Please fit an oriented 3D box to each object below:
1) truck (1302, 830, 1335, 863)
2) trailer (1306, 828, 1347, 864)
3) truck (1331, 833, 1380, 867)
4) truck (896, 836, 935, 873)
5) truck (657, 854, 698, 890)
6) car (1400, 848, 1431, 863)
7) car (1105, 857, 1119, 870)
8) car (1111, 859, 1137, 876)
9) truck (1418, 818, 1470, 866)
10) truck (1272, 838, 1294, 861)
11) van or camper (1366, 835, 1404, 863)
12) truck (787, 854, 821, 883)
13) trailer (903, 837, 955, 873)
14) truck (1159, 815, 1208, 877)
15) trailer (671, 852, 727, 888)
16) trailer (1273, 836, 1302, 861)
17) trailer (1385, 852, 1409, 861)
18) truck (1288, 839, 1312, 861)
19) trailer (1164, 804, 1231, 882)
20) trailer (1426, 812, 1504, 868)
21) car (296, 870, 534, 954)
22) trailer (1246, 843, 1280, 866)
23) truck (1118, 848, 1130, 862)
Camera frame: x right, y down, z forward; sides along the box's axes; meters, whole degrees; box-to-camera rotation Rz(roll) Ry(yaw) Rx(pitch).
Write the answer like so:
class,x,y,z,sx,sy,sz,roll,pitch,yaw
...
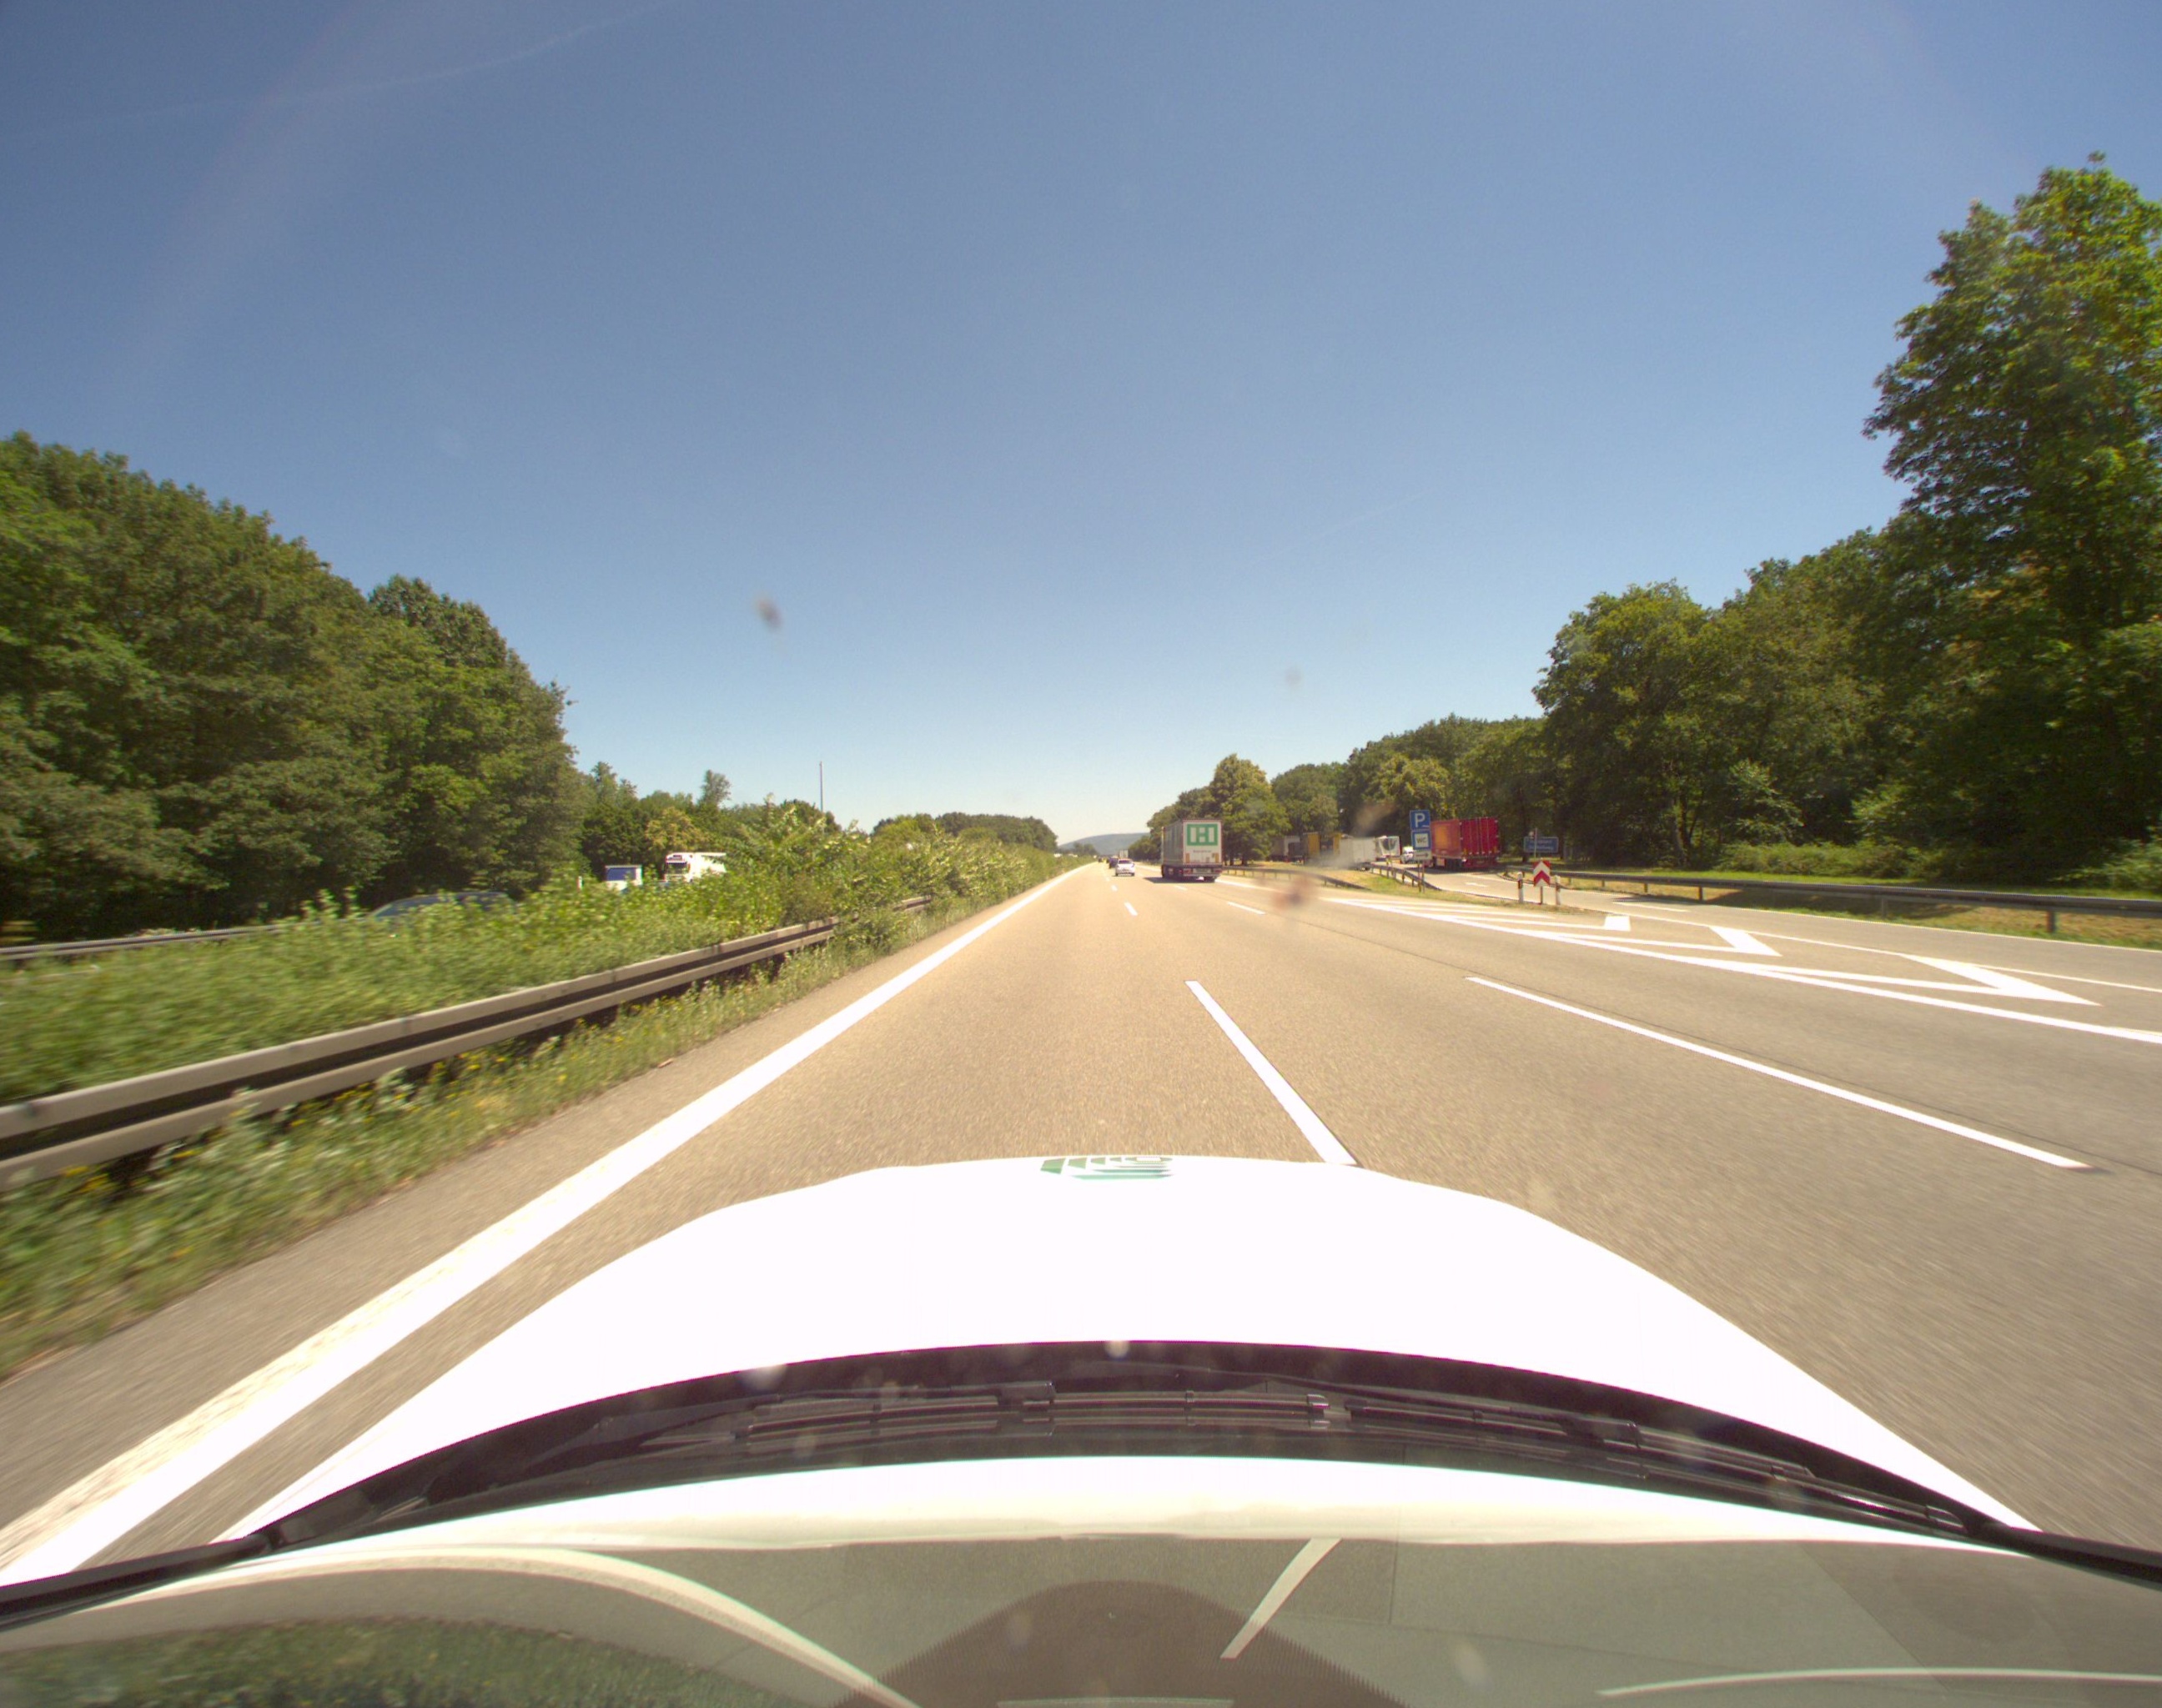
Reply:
class,x,y,z,sx,sy,sz,roll,pitch,yaw
truck,29.564,-0.844,101.611,3.164,3.935,6.635,-1,0,10
trailer,28.272,-0.860,94.423,3.164,3.935,11.583,-1,0,10
truck,25.723,-0.345,76.652,2.457,2.946,7.666,-1,0,4
truck,-16.367,0.084,80.689,2.954,3.558,4.222,-1,0,0
truck,-43.962,1.911,88.868,2.610,3.768,4.675,-2,0,-10
car,34.961,0.159,85.304,1.981,1.451,5.049,-2,0,11
car,4.704,1.443,121.857,1.888,1.892,4.005,-2,-1,4
car,3.849,1.186,73.300,1.808,1.405,3.311,-2,0,-5
truck,31.851,-1.016,71.745,2.958,3.881,6.441,-2,0,14
truck,34.154,-0.753,138.024,3.071,3.790,5.328,0,0,8
van or camper,37.396,-0.562,100.361,2.980,3.235,7.019,-2,0,10
truck,-40.616,2.053,119.805,2.607,3.971,9.974,-2,0,-7
trailer,-16.301,0.124,88.499,2.954,3.570,13.432,-1,0,0
truck,7.966,-0.594,63.839,3.170,4.607,5.950,-1,0,2
trailer,-45.295,1.853,97.035,2.609,3.971,12.562,-2,0,-9
trailer,33.213,-0.778,131.416,3.084,3.790,13.393,0,0,8
trailer,35.796,0.244,92.328,1.764,0.958,4.012,-2,0,11
truck,31.944,-0.540,118.817,2.455,3.086,6.630,0,0,7
trailer,7.639,-0.620,55.263,3.169,4.627,12.056,-2,0,2
trailer,30.080,-0.983,64.512,2.958,3.878,12.936,-2,0,14
car,-13.678,1.115,17.083,1.727,1.486,3.999,-1,0,-1
trailer,33.865,0.183,152.222,3.125,3.952,14.192,-2,0,0
truck,12.435,0.320,236.343,3.312,3.756,12.801,0,0,2
